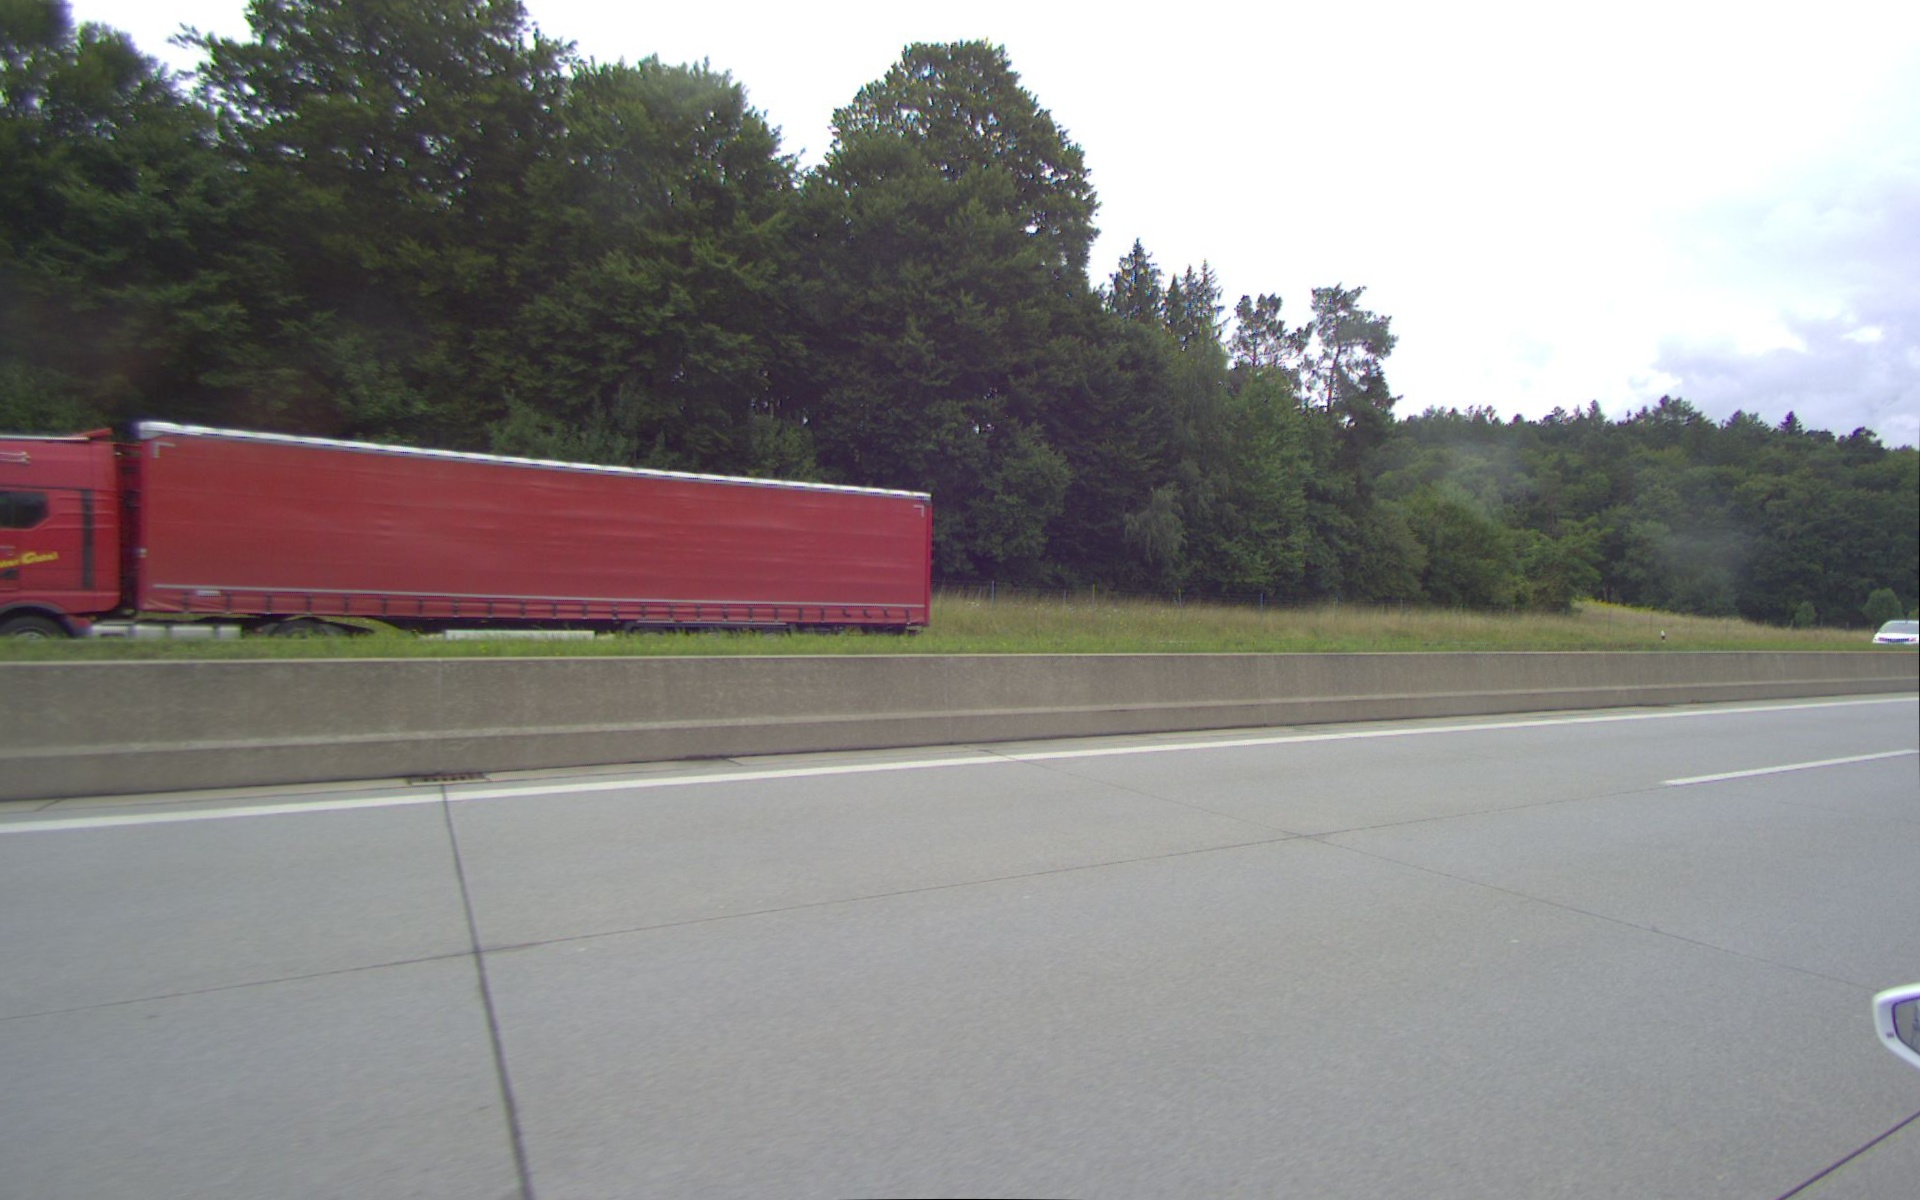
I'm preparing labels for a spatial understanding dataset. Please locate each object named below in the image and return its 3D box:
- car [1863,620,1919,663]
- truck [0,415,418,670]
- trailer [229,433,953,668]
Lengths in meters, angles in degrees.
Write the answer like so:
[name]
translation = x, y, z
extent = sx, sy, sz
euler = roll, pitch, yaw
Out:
[car]
translation = 46.626, 2.009, 49.320
extent = 5.564, 1.982, 1.982
euler = 1, 0, -32
[truck]
translation = -13.618, -0.868, 17.921
extent = 6.864, 3.980, 2.541
euler = 1, 0, -30
[trailer]
translation = -6.949, -0.733, 21.860
extent = 14.210, 3.997, 2.595
euler = 1, 0, -31
